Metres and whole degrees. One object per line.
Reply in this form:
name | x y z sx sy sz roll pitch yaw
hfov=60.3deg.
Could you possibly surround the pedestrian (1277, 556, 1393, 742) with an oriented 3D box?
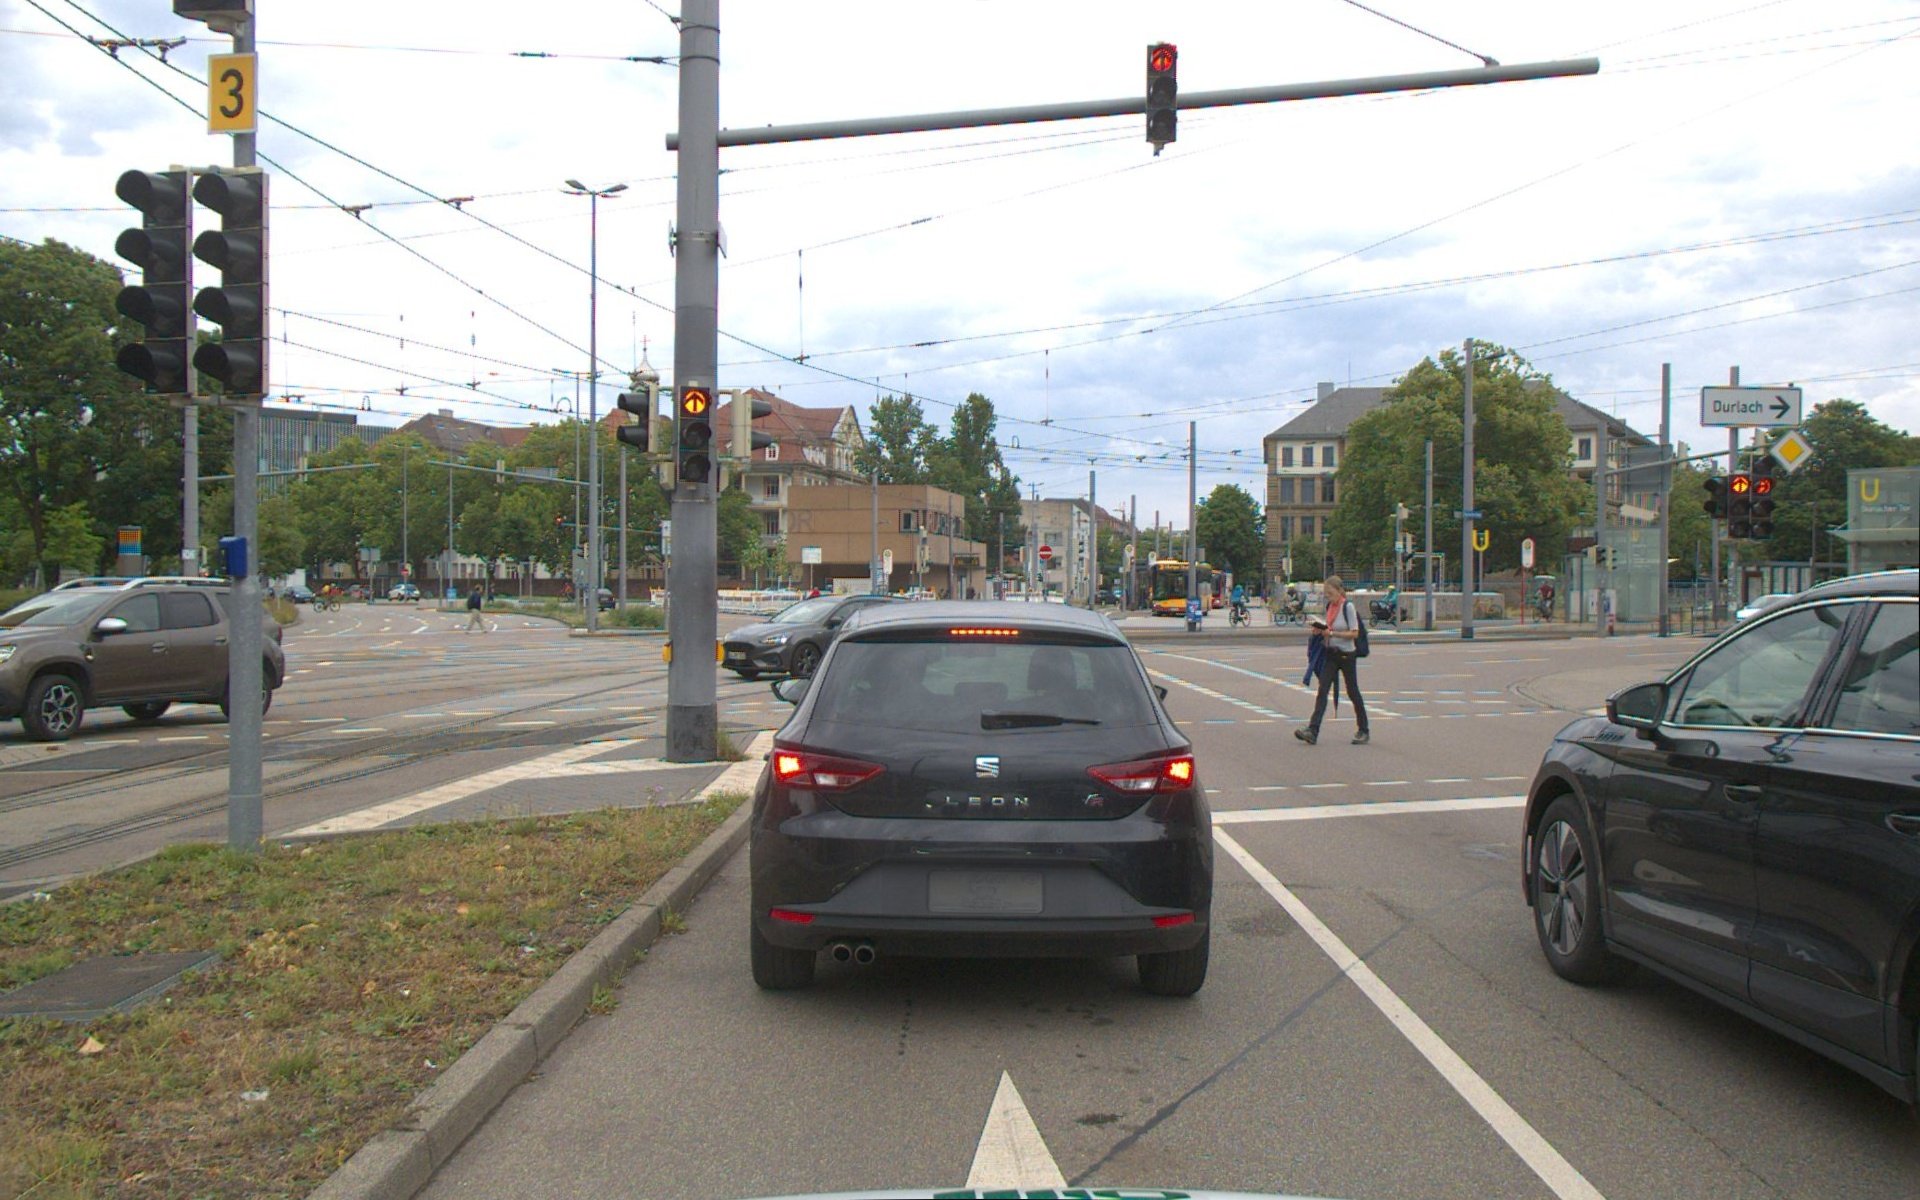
pedestrian | 4.062 0.516 17.883 1.095 1.940 0.724 1 -1 -43

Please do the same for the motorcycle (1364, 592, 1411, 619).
motorcycle | 18.174 0.226 70.247 2.115 1.159 0.735 0 0 -34

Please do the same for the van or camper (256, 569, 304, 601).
van or camper | -67.904 -1.494 165.121 5.404 3.178 2.382 0 0 42

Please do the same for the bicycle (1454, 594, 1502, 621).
bicycle | 26.207 0.369 83.768 2.214 1.354 0.707 0 -1 7

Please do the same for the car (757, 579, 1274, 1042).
car | 0.053 0.663 7.243 1.671 1.474 3.809 0 0 -4

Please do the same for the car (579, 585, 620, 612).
car | -23.104 -0.074 105.975 1.965 1.713 3.974 0 -1 -21

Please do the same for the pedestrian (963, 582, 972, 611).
pedestrian | 0.493 -0.246 110.264 0.608 1.951 0.711 0 0 3

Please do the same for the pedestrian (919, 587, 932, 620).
pedestrian | -2.070 0.183 98.688 0.693 1.951 0.624 0 0 7

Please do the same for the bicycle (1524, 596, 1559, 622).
bicycle | 26.915 0.418 76.549 0.764 1.205 2.019 0 0 43

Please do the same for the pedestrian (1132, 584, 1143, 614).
pedestrian | 11.380 -0.076 106.013 0.608 1.951 0.699 0 0 9

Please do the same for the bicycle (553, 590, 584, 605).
bicycle | -32.507 -0.225 137.273 0.921 1.199 2.726 0 0 28

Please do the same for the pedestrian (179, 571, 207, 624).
pedestrian | -30.153 -0.080 65.020 0.915 2.049 1.006 0 -1 -20

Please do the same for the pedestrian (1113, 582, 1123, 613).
pedestrian | 10.095 -0.154 105.563 0.608 1.951 0.699 0 0 9

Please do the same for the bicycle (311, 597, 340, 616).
bicycle | -42.603 0.457 111.070 0.427 1.258 1.816 -1 -1 42

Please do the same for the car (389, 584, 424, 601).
car | -49.881 -0.700 149.097 1.764 1.489 3.946 0 1 -38

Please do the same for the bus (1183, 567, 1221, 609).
bus | 20.281 -0.972 138.146 2.597 3.340 11.004 0 0 11

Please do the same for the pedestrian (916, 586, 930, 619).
pedestrian | -2.194 0.171 97.892 0.693 1.951 0.624 0 0 7

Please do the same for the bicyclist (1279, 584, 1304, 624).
bicyclist | 14.006 0.168 69.896 0.839 1.702 0.652 0 0 -14

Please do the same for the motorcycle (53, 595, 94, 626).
motorcycle | -37.326 0.450 69.668 0.503 1.290 1.463 0 0 43

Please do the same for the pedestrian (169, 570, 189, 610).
pedestrian | -40.671 -0.512 86.133 0.787 2.016 0.870 1 -1 -35

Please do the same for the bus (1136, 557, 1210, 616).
bus | 12.333 -0.756 94.880 2.897 3.178 11.548 0 0 14

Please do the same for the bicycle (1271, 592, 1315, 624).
bicycle | 14.085 0.330 69.916 1.701 1.345 0.643 0 0 -14

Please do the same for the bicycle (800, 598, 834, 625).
bicycle | -6.375 0.506 73.677 0.879 1.199 2.287 0 0 -21

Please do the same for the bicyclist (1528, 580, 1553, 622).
bicyclist | 26.865 0.061 76.500 0.765 1.931 0.990 0 0 44

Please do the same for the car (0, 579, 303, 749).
car | -9.571 0.616 18.548 1.760 1.668 4.231 0 0 19

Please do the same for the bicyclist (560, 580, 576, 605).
bicyclist | -32.550 -0.651 137.253 0.919 2.049 0.977 0 0 28

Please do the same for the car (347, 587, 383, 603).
car | -57.218 -0.518 159.027 3.932 1.489 1.770 1 1 44

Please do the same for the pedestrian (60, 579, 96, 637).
pedestrian | -31.693 0.282 59.435 1.005 2.049 0.841 0 0 -20

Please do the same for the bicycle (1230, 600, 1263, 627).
bicycle | 12.335 0.585 71.252 0.848 1.124 2.300 0 0 -5

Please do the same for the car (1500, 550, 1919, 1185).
car | 3.313 0.684 5.093 1.741 1.625 4.508 0 0 -1

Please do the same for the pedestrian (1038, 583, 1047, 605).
pedestrian | 7.286 -0.546 146.027 0.609 1.952 0.710 -1 -1 25

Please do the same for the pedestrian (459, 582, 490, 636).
pedestrian | -17.810 0.311 60.665 1.014 1.968 0.695 0 0 -26

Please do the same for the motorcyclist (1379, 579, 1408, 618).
motorcyclist | 18.469 -0.069 70.463 0.968 1.678 0.741 0 0 -33

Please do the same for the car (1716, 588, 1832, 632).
car | 27.988 0.361 56.863 3.947 1.490 1.756 0 -1 -32

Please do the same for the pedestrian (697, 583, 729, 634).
pedestrian | -9.534 0.329 63.860 0.687 1.968 1.026 0 0 38

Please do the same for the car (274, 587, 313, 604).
car | -58.162 -0.377 144.317 3.931 1.489 1.770 1 0 43

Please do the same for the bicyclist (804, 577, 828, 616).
bicyclist | -6.420 -0.159 73.820 0.870 1.762 0.888 0 0 -22

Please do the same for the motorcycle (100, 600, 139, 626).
motorcycle | -36.392 0.552 71.603 0.499 1.130 1.746 0 0 13

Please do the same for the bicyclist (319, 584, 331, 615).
bicyclist | -42.617 -0.018 111.067 0.505 2.049 0.586 -1 -2 42

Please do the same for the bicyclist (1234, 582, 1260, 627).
bicyclist | 12.329 0.187 71.182 0.854 1.884 1.046 0 0 -6

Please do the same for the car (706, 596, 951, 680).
car | -2.346 0.649 30.305 4.351 1.420 1.674 0 0 -40

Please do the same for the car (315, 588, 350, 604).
car | -62.297 -0.429 164.070 3.933 1.489 1.769 1 1 44
